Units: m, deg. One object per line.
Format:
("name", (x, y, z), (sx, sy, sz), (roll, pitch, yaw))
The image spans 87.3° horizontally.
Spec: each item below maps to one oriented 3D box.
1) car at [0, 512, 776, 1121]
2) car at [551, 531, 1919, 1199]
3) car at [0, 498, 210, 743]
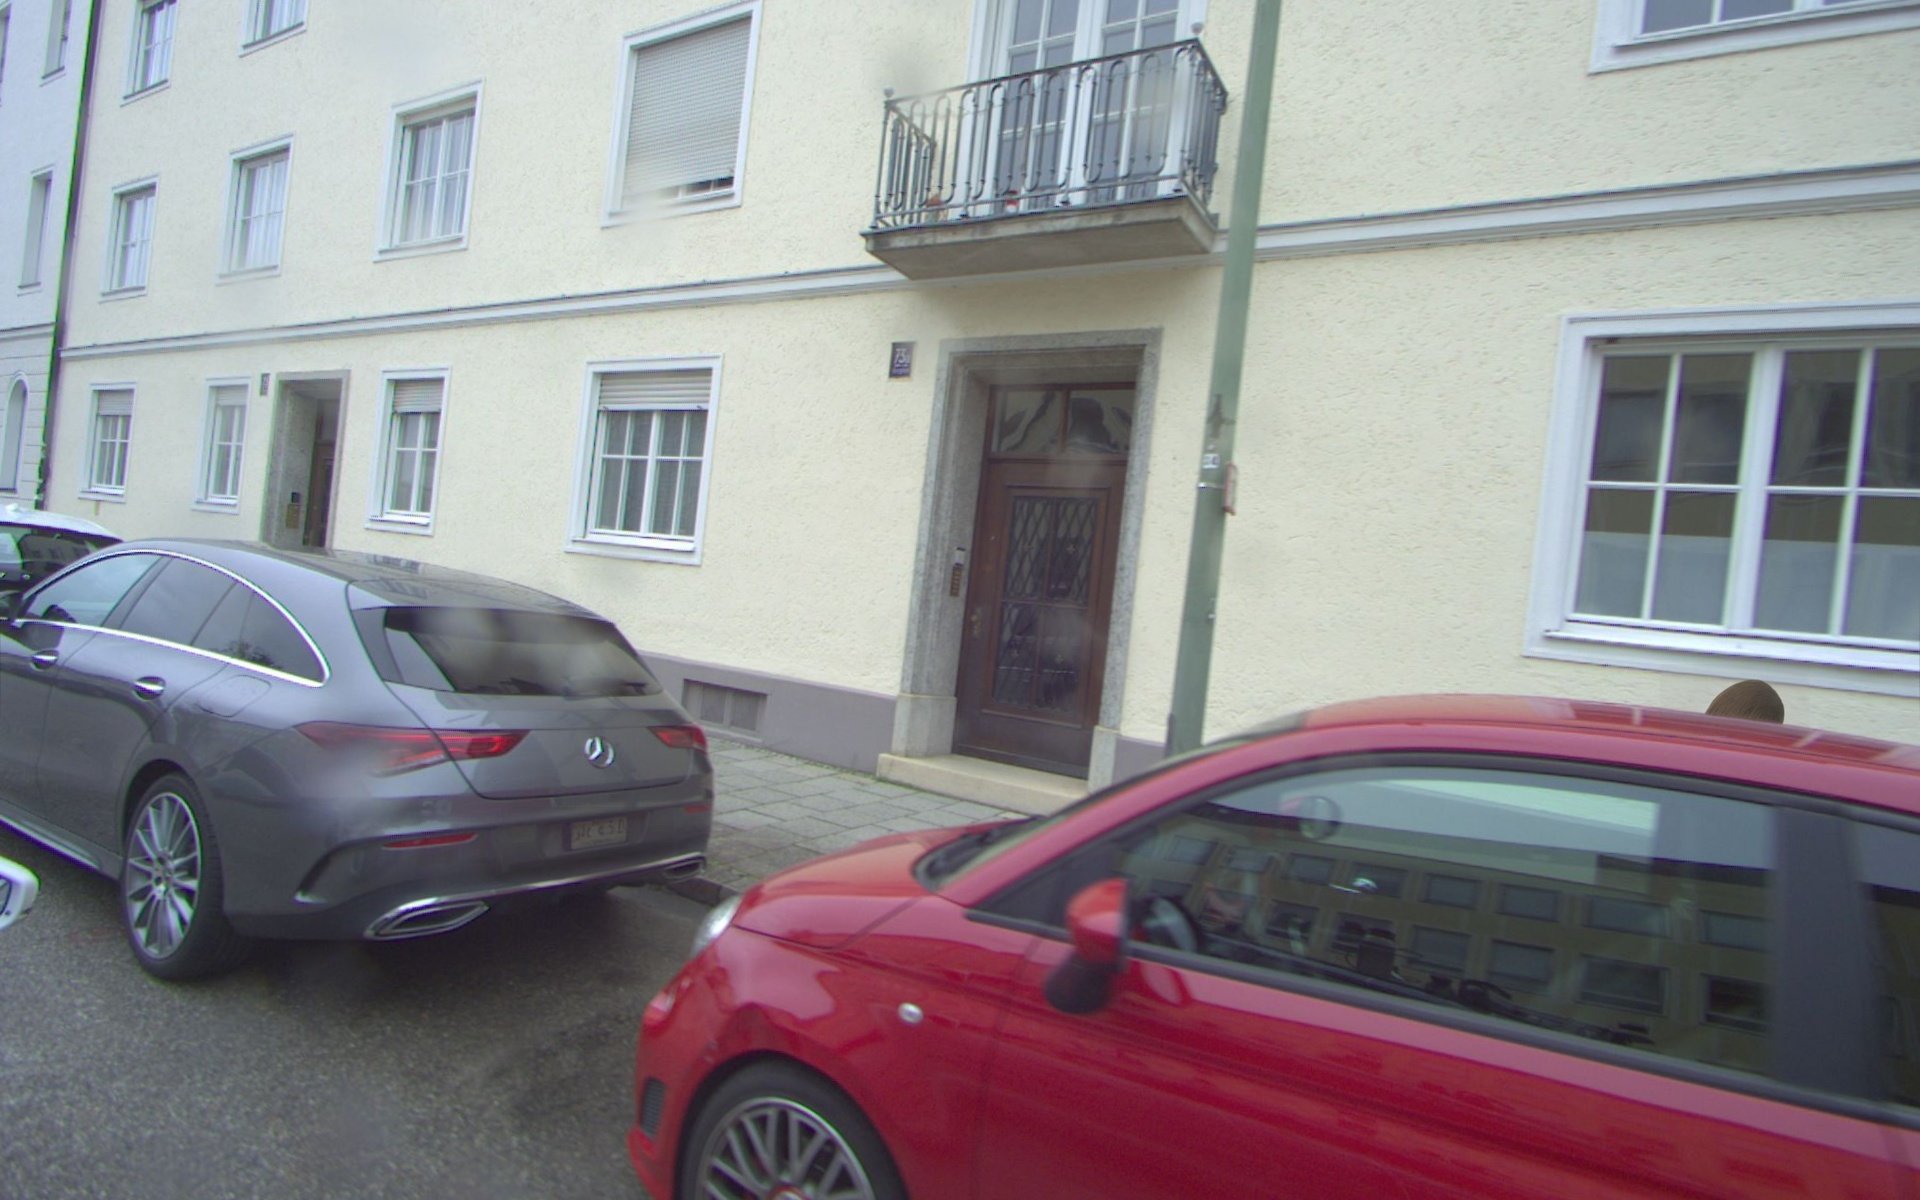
("car", (-3.080, 0.513, 4.532), (4.270, 1.510, 1.694), (6, 0, 31))
("car", (1.127, 0.847, 1.981), (3.738, 1.527, 1.597), (7, 0, 32))
("car", (-7.666, -0.048, 7.564), (4.211, 1.510, 1.694), (7, 0, 31))
